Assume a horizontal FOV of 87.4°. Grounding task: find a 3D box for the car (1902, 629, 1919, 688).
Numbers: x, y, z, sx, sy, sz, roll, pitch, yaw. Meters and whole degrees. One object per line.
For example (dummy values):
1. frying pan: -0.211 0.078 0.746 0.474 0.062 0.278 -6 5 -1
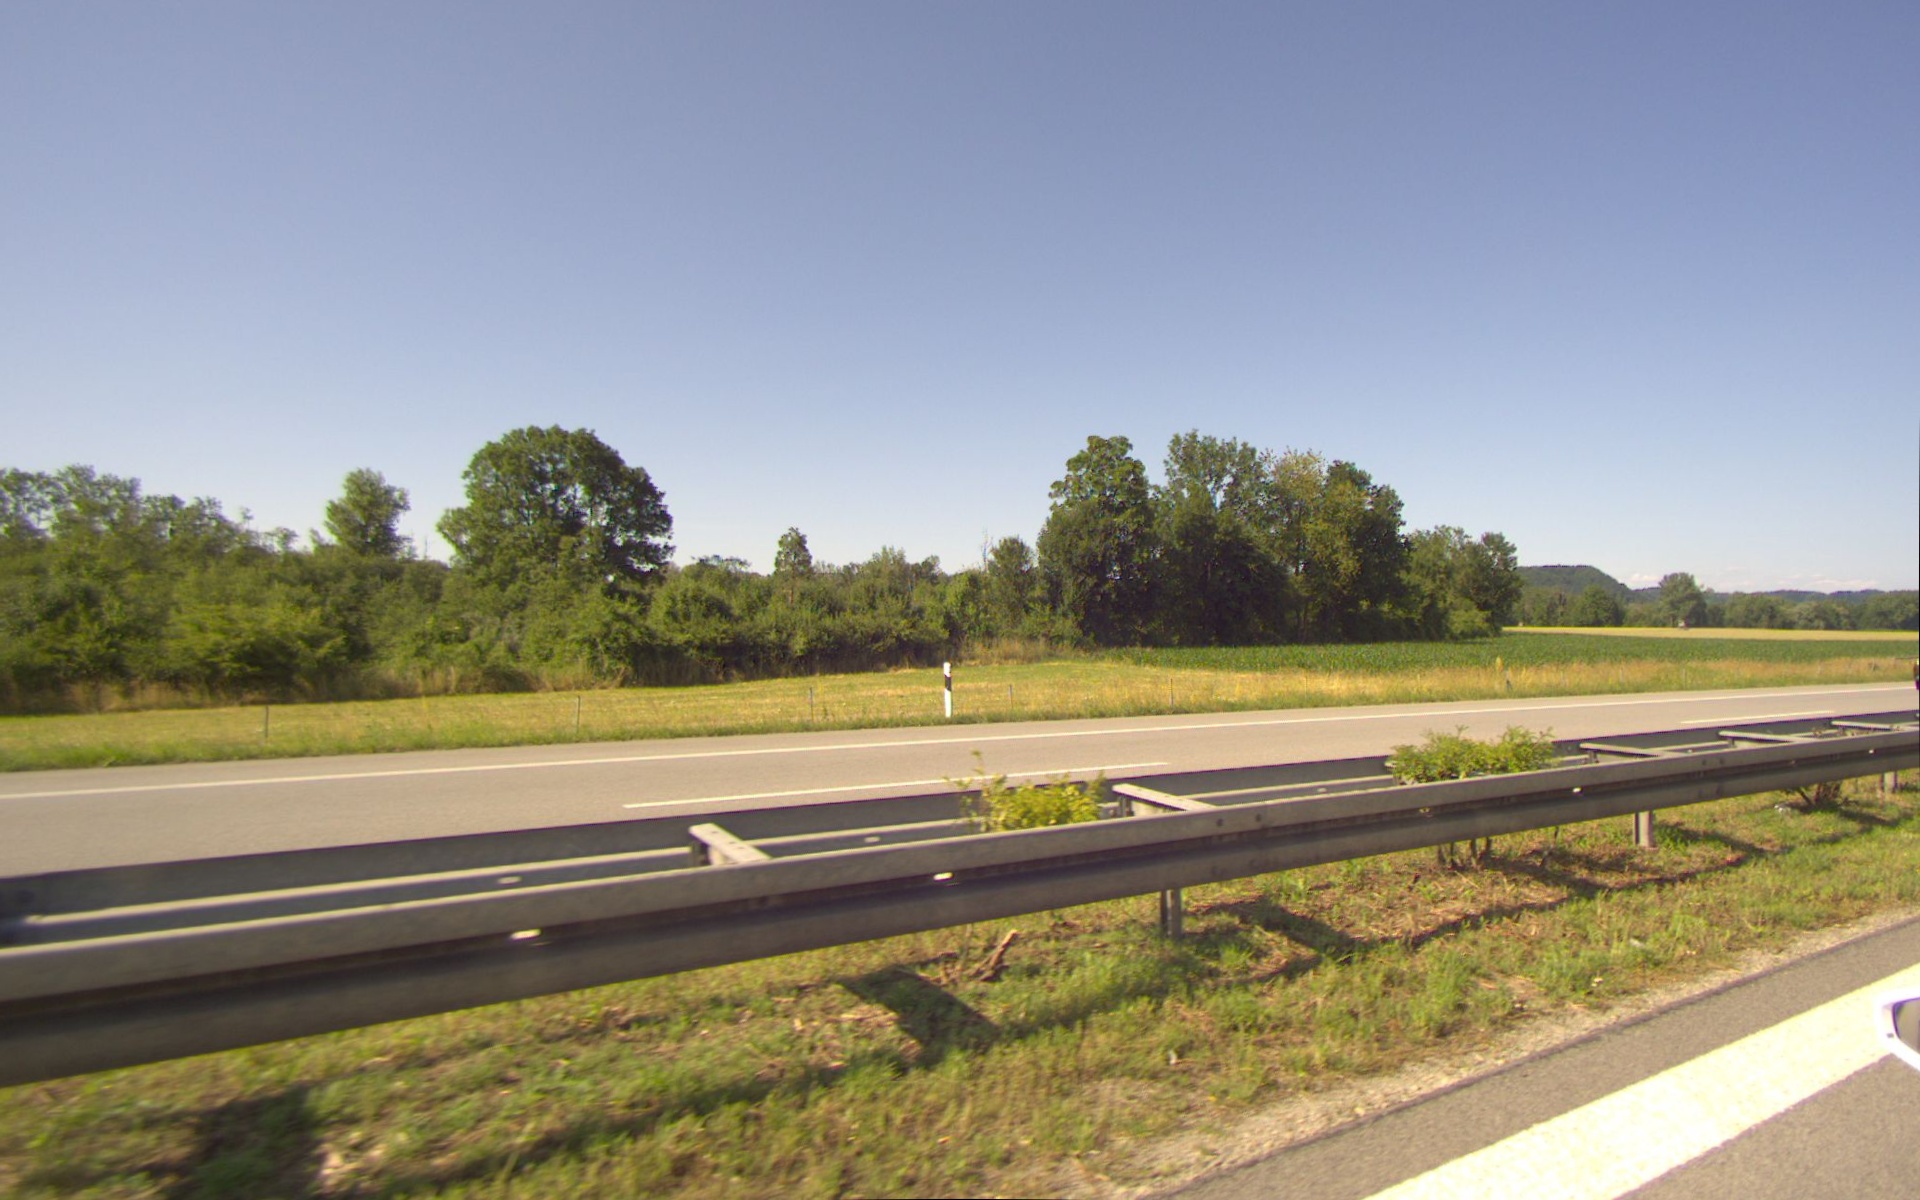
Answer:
1. car: 29.941 1.697 29.534 4.719 1.683 1.985 1 -3 -30
